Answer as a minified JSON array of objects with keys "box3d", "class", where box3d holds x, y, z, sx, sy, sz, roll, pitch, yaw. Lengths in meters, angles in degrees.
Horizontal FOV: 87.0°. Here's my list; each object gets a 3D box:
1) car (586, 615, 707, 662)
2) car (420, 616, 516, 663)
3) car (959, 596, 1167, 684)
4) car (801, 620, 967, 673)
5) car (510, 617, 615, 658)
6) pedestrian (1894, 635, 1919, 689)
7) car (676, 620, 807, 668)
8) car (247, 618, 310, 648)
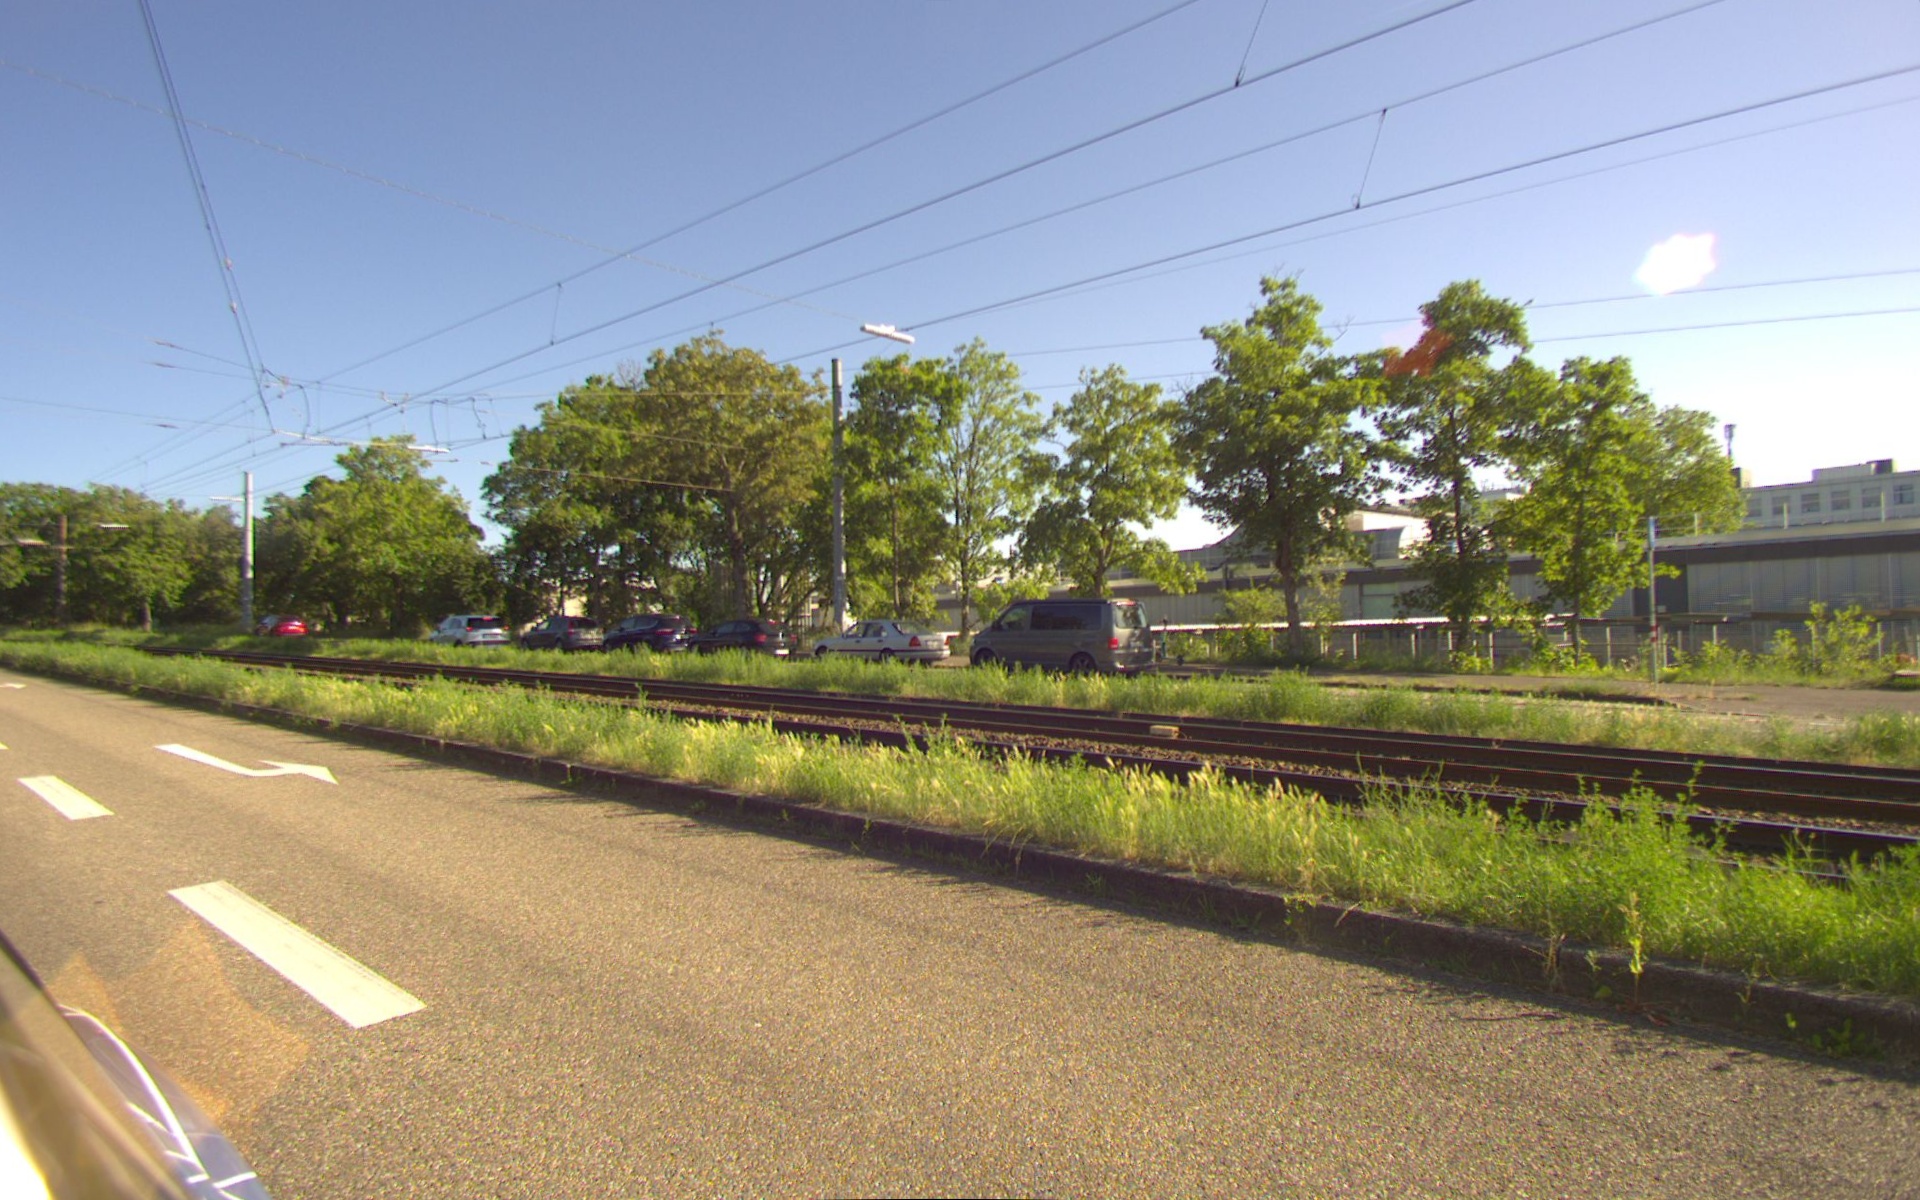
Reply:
[{"box3d":[-11.428,1.384,36.790,4.614,1.599,2.102,-2,-1,41],"class":"car"},{"box3d":[-17.676,1.404,36.297,4.159,1.569,1.834,-2,-1,45],"class":"car"},{"box3d":[2.448,0.943,24.807,4.684,1.949,2.178,-2,-1,42],"class":"car"},{"box3d":[-2.256,1.306,29.230,4.612,1.391,2.103,-2,-1,40],"class":"car"},{"box3d":[-16.257,1.515,41.266,4.557,1.575,2.103,-2,-1,41],"class":"car"},{"box3d":[23.541,1.531,25.020,0.435,1.310,0.441,-1,-2,-1],"class":"pedestrian"},{"box3d":[-7.233,1.418,33.237,4.486,1.437,1.935,-2,-1,42],"class":"car"},{"box3d":[-42.450,2.073,62.995,4.797,1.746,2.290,-2,-1,43],"class":"car"}]
